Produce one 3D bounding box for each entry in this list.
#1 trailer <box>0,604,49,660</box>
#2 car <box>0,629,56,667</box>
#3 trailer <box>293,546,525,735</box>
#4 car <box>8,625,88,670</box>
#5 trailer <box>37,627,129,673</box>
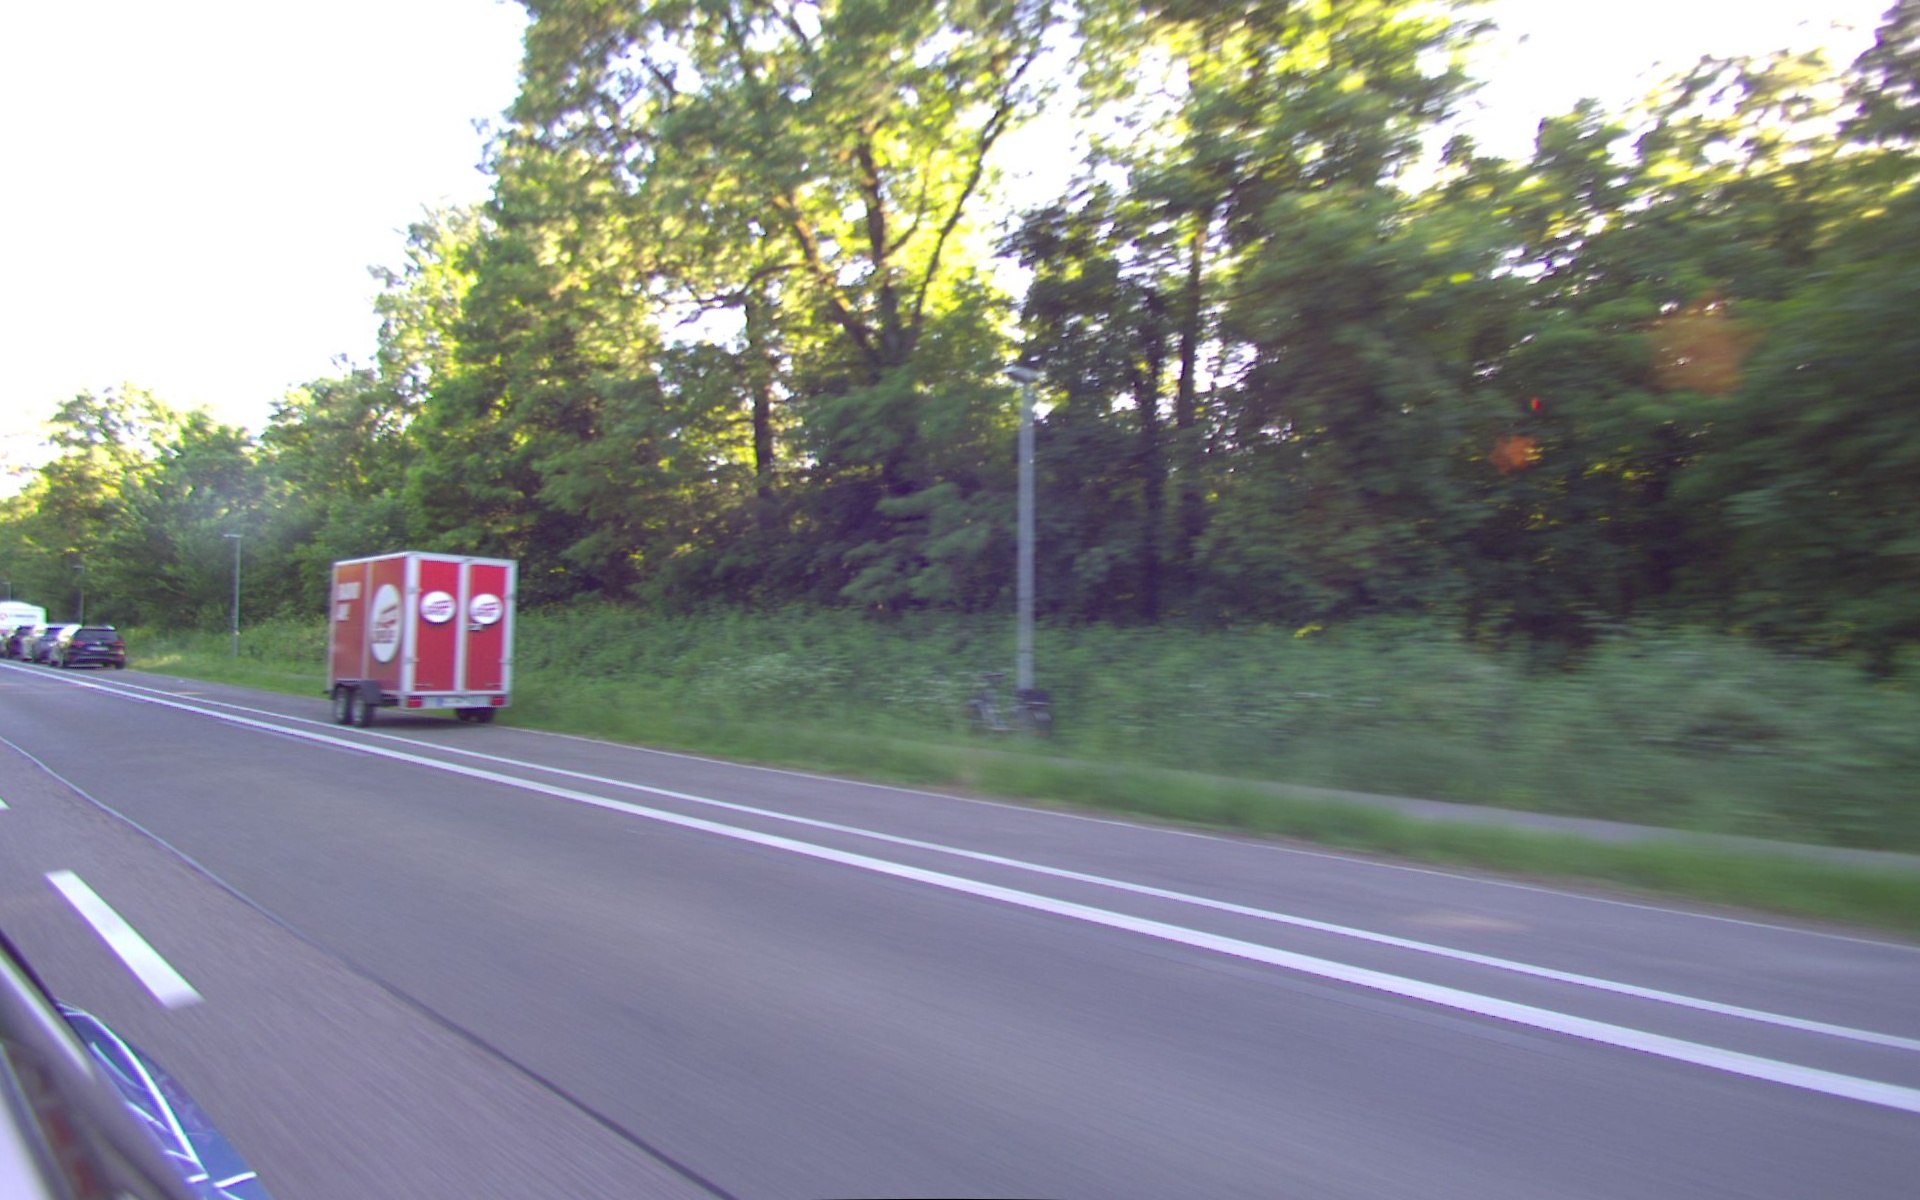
[{"bbox_3d":[-45.338,1.524,48.041,4.338,2.548,2.323,-1,-2,38],"label":"trailer"},{"bbox_3d":[-40.660,2.058,43.837,4.192,1.506,1.653,-1,-5,41],"label":"car"},{"bbox_3d":[-8.889,0.615,16.209,4.084,2.641,1.972,-1,-2,41],"label":"trailer"},{"bbox_3d":[-35.889,1.835,39.777,5.125,1.586,1.653,-1,-5,41],"label":"car"},{"bbox_3d":[-30.665,1.708,35.344,4.464,1.477,1.822,-1,-2,41],"label":"trailer"}]
